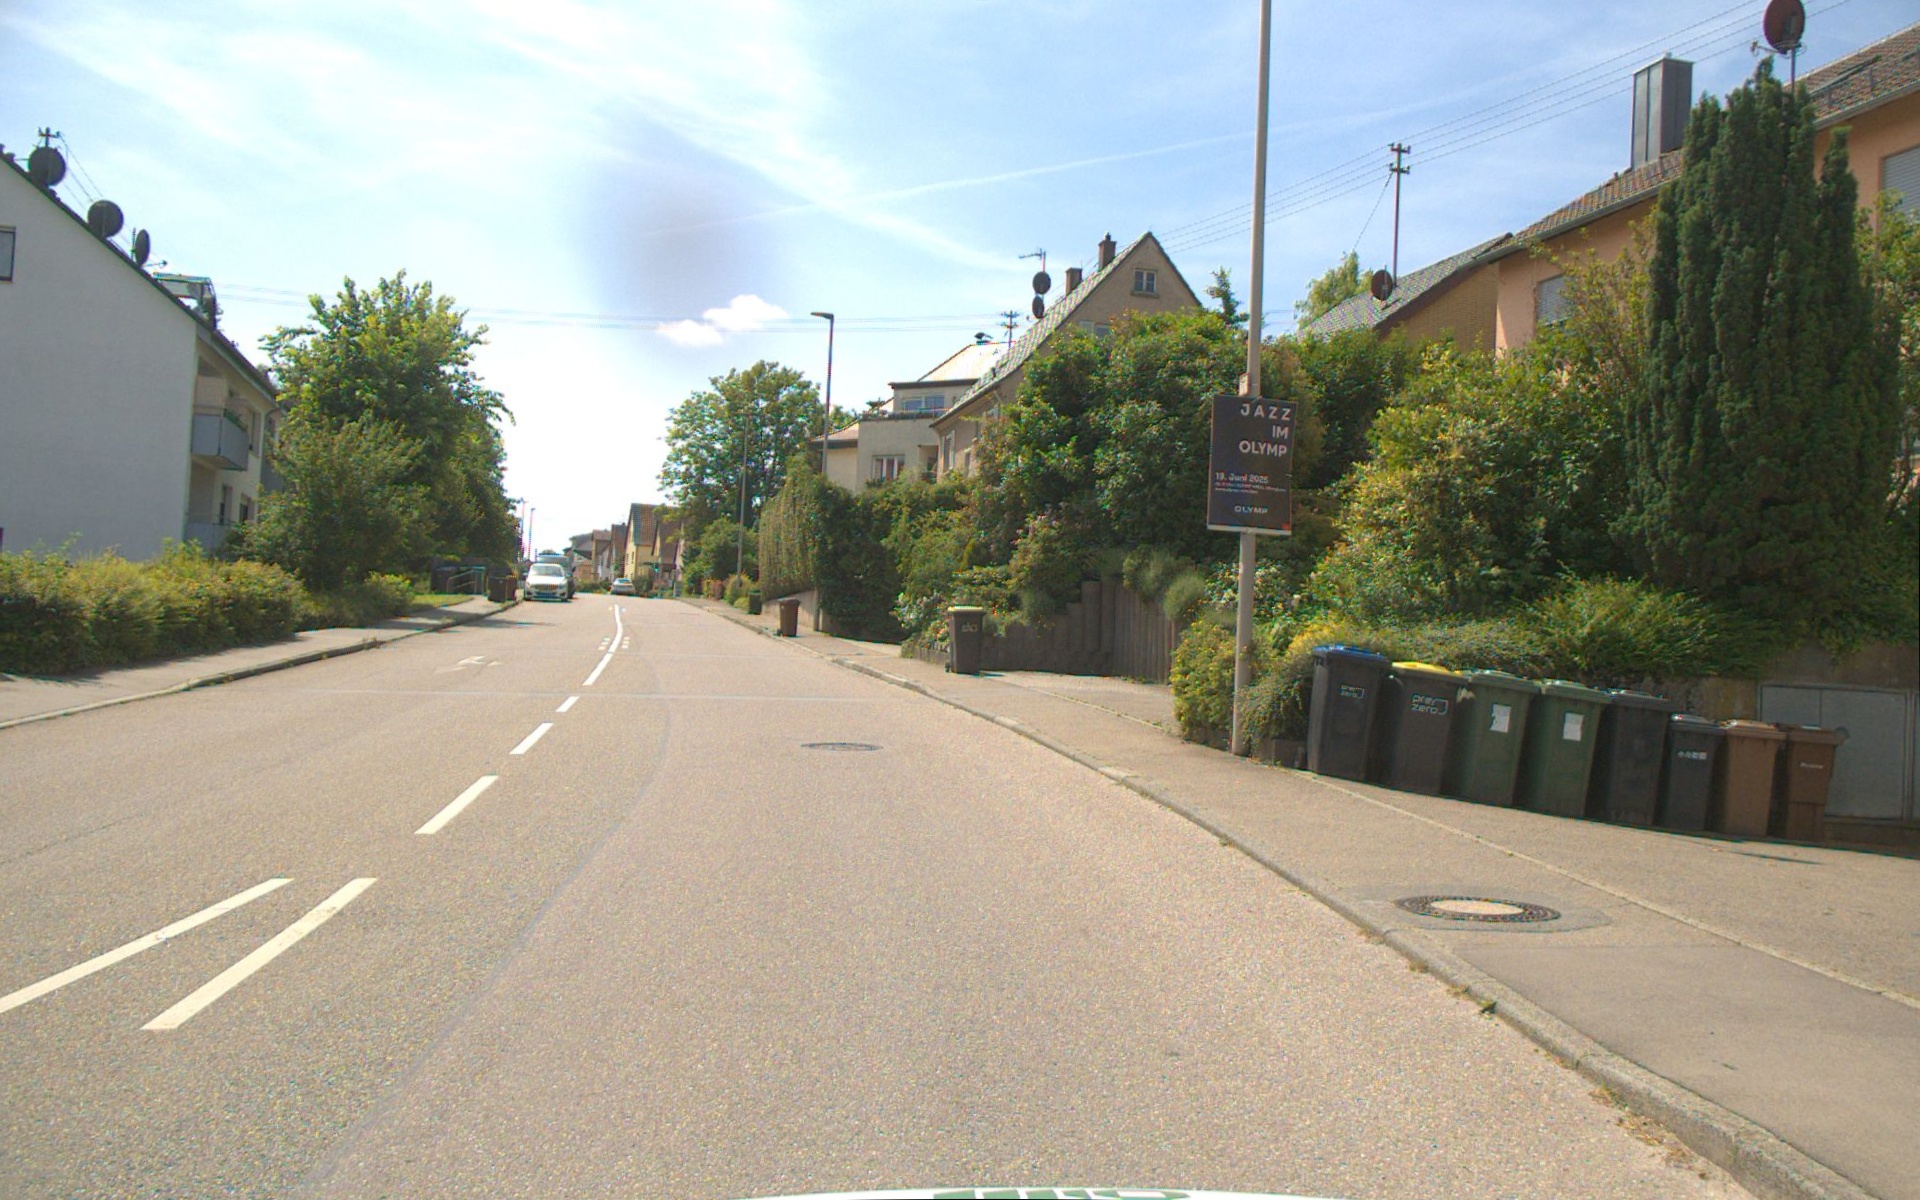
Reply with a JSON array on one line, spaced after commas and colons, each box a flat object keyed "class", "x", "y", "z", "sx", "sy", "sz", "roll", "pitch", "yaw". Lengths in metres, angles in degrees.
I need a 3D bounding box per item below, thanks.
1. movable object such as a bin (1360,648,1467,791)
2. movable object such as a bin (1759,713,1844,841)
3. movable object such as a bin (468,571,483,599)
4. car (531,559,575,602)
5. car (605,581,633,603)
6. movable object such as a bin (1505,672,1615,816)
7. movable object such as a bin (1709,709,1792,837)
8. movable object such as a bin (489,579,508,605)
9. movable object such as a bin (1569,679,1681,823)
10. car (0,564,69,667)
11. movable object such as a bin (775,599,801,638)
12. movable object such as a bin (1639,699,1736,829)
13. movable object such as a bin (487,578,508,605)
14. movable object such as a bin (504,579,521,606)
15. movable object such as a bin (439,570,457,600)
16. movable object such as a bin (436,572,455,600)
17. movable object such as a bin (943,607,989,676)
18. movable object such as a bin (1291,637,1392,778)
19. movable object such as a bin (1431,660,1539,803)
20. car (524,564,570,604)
[{"class": "movable object such as a bin", "x": 3.822, "y": 0.995, "z": 13.978, "sx": 0.539, "sy": 1.086, "sz": 0.767, "roll": 7, "pitch": -1, "yaw": -4}, {"class": "movable object such as a bin", "x": 7.020, "y": 1.470, "z": 13.806, "sx": 0.391, "sy": 0.988, "sz": 0.408, "roll": 6, "pitch": -1, "yaw": -4}, {"class": "movable object such as a bin", "x": -19.994, "y": -0.610, "z": 68.261, "sx": 0.508, "sy": 1.123, "sz": 0.528, "roll": 2, "pitch": 0, "yaw": -14}, {"class": "car", "x": -19.278, "y": -0.946, "z": 78.239, "sx": 1.865, "sy": 1.953, "sz": 4.851, "roll": 1, "pitch": 1, "yaw": -15}, {"class": "car", "x": -27.527, "y": -0.638, "z": 133.367, "sx": 1.960, "sy": 1.631, "sz": 3.986, "roll": 3, "pitch": 0, "yaw": -14}, {"class": "movable object such as a bin", "x": 5.002, "y": 1.186, "z": 13.810, "sx": 0.539, "sy": 1.087, "sz": 0.672, "roll": 6, "pitch": -1, "yaw": -4}, {"class": "movable object such as a bin", "x": 6.568, "y": 1.431, "z": 13.751, "sx": 0.391, "sy": 0.988, "sz": 0.408, "roll": 6, "pitch": -1, "yaw": -4}, {"class": "movable object such as a bin", "x": -17.231, "y": -0.311, "z": 61.736, "sx": 0.552, "sy": 0.933, "sz": 0.642, "roll": 2, "pitch": 0, "yaw": -6}, {"class": "movable object such as a bin", "x": 5.560, "y": 1.251, "z": 13.850, "sx": 0.539, "sy": 1.087, "sz": 0.672, "roll": 6, "pitch": -1, "yaw": -4}, {"class": "car", "x": -15.197, "y": 0.132, "z": 23.618, "sx": 3.921, "sy": 1.411, "sz": 1.992, "roll": 3, "pitch": 0, "yaw": -15}, {"class": "movable object such as a bin", "x": -4.507, "y": 0.481, "z": 43.386, "sx": 0.578, "sy": 0.995, "sz": 0.783, "roll": 1, "pitch": 0, "yaw": -13}, {"class": "movable object such as a bin", "x": 6.085, "y": 1.364, "z": 13.850, "sx": 0.450, "sy": 0.988, "sz": 0.549, "roll": 6, "pitch": -1, "yaw": -4}, {"class": "movable object such as a bin", "x": -16.899, "y": -0.314, "z": 60.487, "sx": 0.607, "sy": 0.933, "sz": 0.685, "roll": 2, "pitch": 0, "yaw": -6}, {"class": "movable object such as a bin", "x": -17.124, "y": -0.301, "z": 63.300, "sx": 0.496, "sy": 1.005, "sz": 0.562, "roll": 2, "pitch": 0, "yaw": -6}, {"class": "movable object such as a bin", "x": -20.879, "y": -0.602, "z": 67.494, "sx": 0.536, "sy": 1.198, "sz": 0.673, "roll": 2, "pitch": 0, "yaw": -8}, {"class": "movable object such as a bin", "x": -20.767, "y": -0.571, "z": 66.773, "sx": 0.591, "sy": 1.115, "sz": 0.649, "roll": 3, "pitch": 0, "yaw": -6}, {"class": "movable object such as a bin", "x": 0.092, "y": 0.675, "z": 27.266, "sx": 0.577, "sy": 1.077, "sz": 0.917, "roll": 2, "pitch": 0, "yaw": -10}, {"class": "movable object such as a bin", "x": 3.229, "y": 0.902, "z": 14.037, "sx": 0.539, "sy": 1.086, "sz": 0.658, "roll": 7, "pitch": -1, "yaw": -4}, {"class": "movable object such as a bin", "x": 4.409, "y": 1.093, "z": 13.912, "sx": 0.539, "sy": 1.086, "sz": 0.672, "roll": 8, "pitch": -1, "yaw": -4}, {"class": "car", "x": -17.754, "y": -0.723, "z": 71.009, "sx": 1.781, "sy": 1.576, "sz": 4.227, "roll": 3, "pitch": 0, "yaw": -15}]
